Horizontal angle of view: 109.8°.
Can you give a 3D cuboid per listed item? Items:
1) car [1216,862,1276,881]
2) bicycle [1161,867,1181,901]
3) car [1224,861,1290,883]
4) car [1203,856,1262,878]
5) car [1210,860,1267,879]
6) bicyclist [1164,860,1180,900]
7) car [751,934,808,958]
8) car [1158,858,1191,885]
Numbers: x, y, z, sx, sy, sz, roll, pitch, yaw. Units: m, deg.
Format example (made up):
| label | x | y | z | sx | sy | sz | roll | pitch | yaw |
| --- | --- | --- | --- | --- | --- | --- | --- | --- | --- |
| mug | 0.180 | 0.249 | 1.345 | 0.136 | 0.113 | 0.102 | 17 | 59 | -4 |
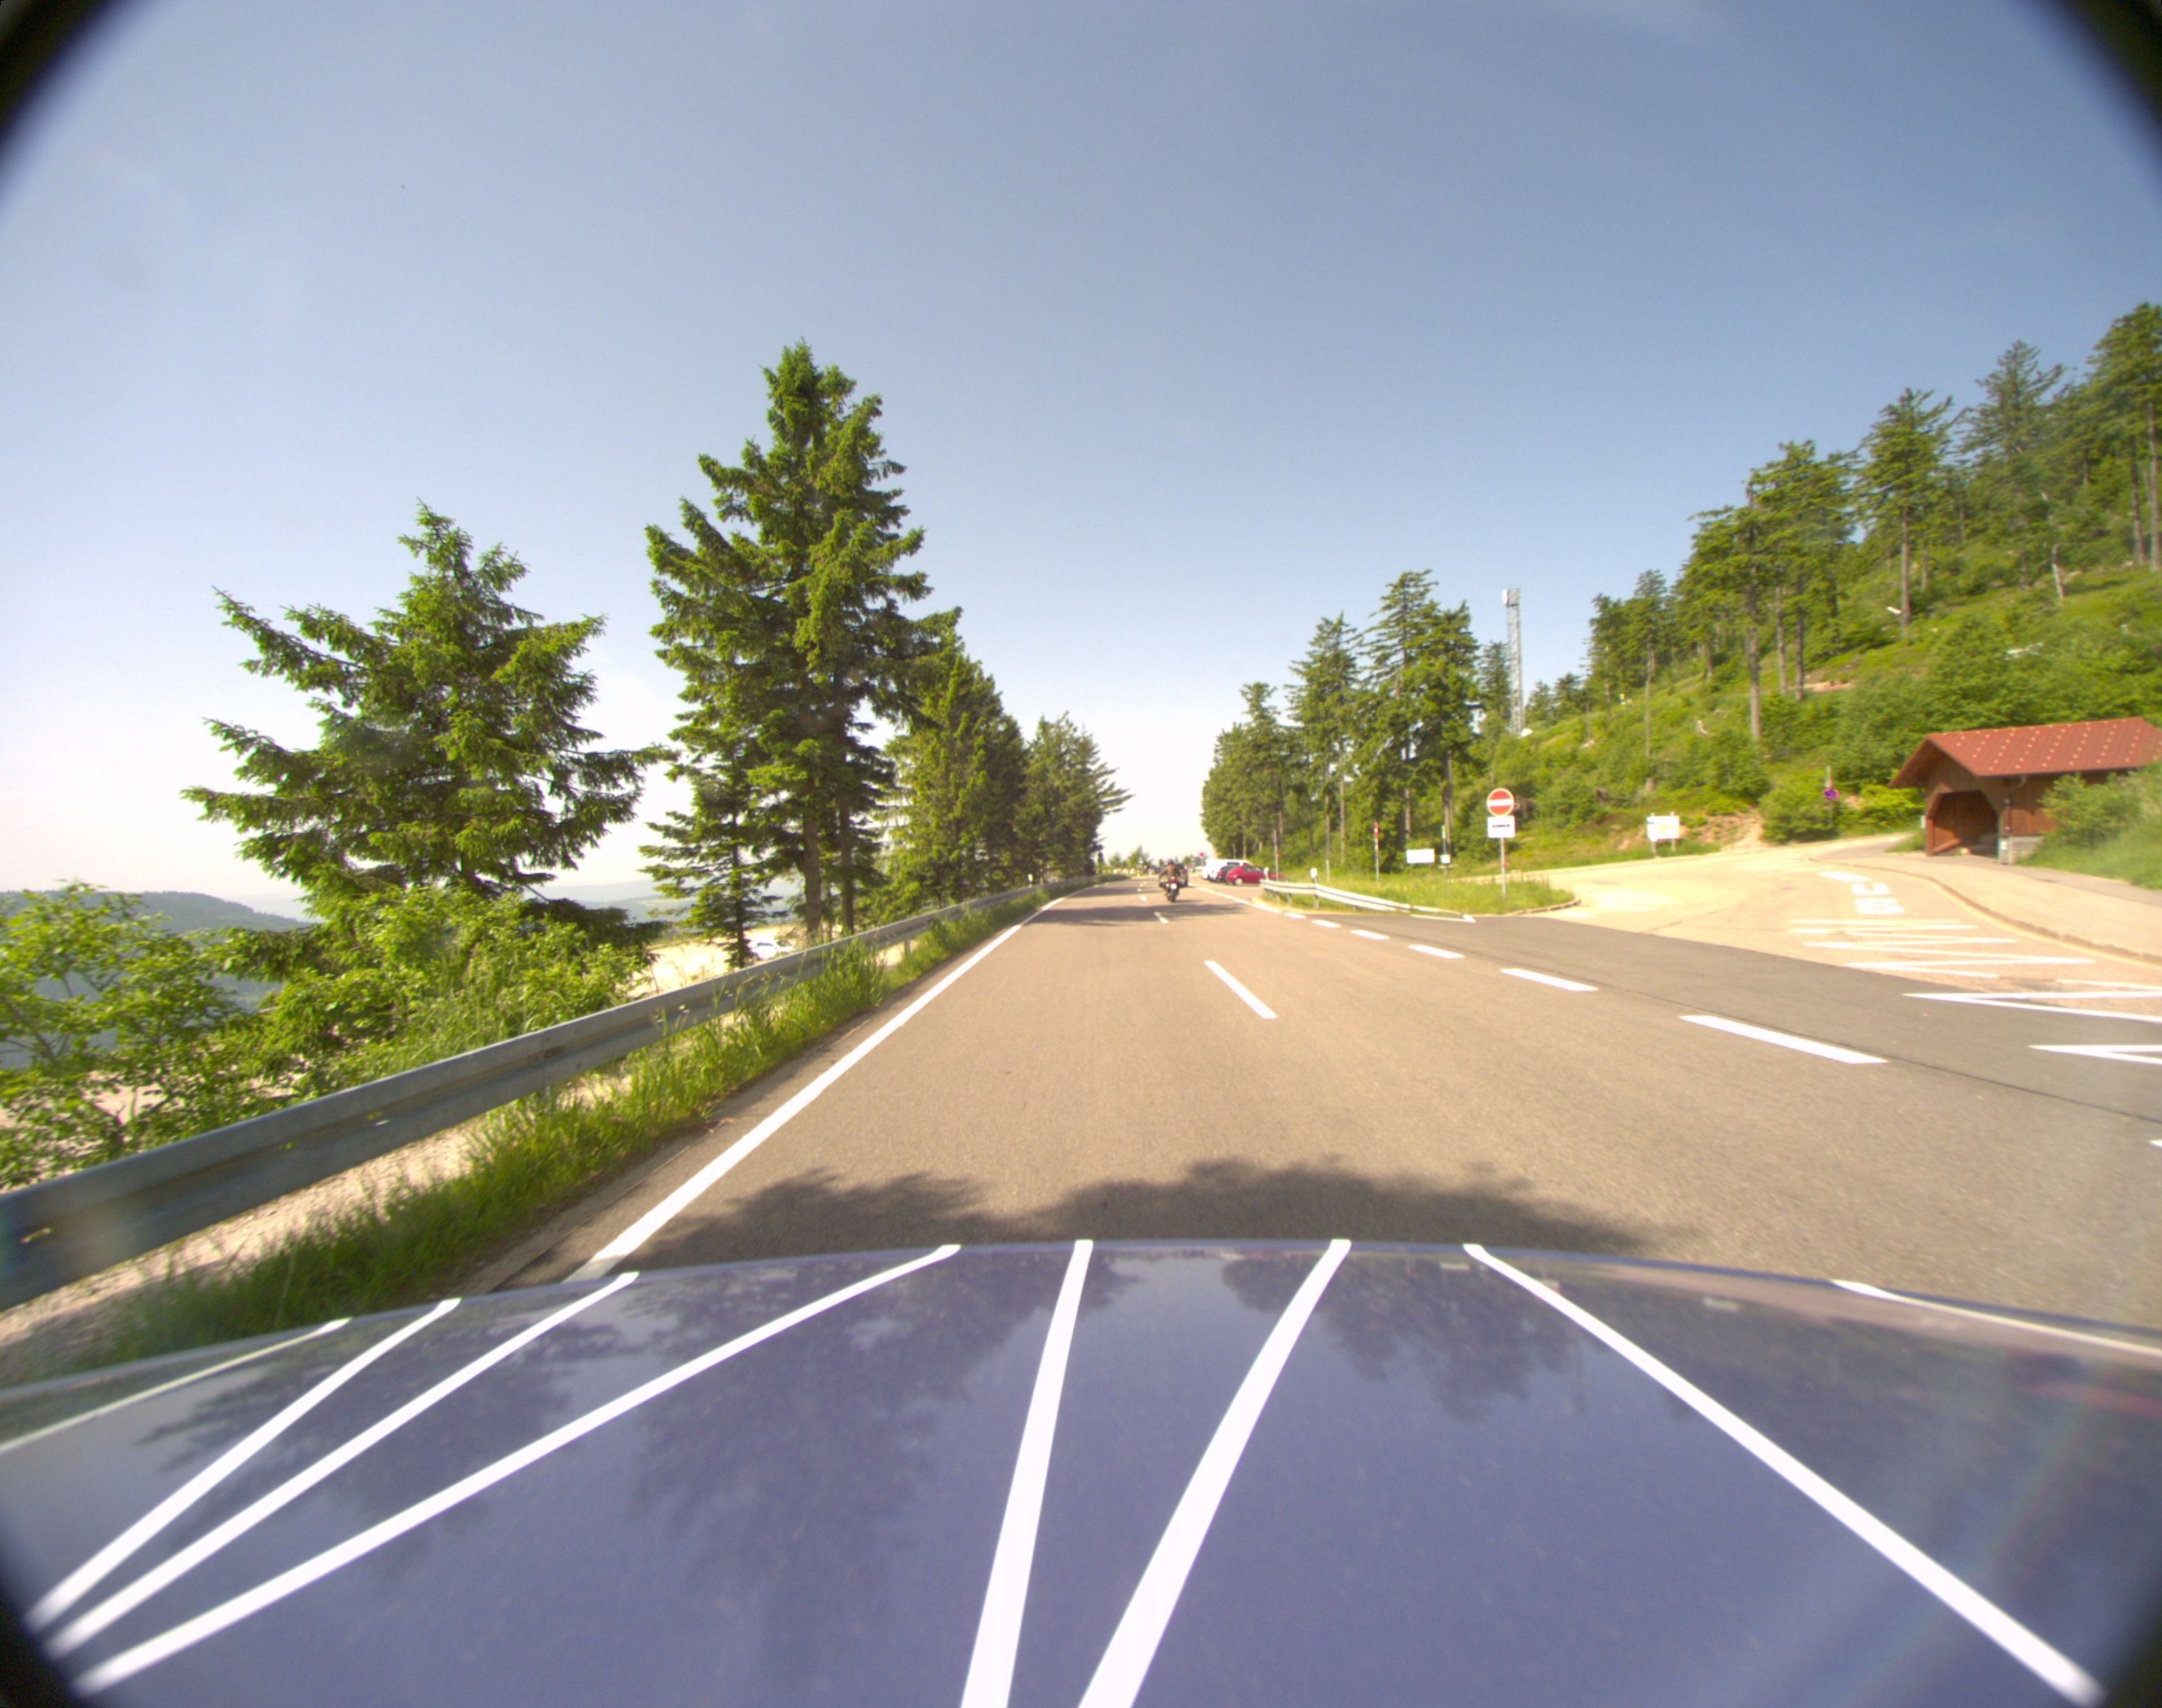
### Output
| label | x | y | z | sx | sy | sz | roll | pitch | yaw |
| --- | --- | --- | --- | --- | --- | --- | --- | --- | --- |
| car | 11.909 | 1.268 | 55.121 | 3.928 | 1.365 | 1.932 | 0 | 0 | 0 |
| bicycle | 3.476 | 1.154 | 29.399 | 0.546 | 1.220 | 1.858 | -1 | 0 | 1 |
| car | 12.110 | 1.222 | 52.465 | 4.158 | 1.501 | 1.933 | 0 | 0 | 5 |
| car | 13.207 | 1.086 | 66.421 | 4.729 | 1.871 | 1.932 | 0 | 0 | 0 |
| car | 12.949 | 1.293 | 62.667 | 4.242 | 1.516 | 1.932 | 0 | 0 | 0 |
| bicyclist | 3.538 | 0.998 | 29.516 | 0.546 | 1.519 | 0.679 | -1 | 1 | 1 |
| car | -23.831 | 7.299 | 60.115 | 3.771 | 1.587 | 1.845 | -2 | 3 | 16 |
| car | 6.044 | 1.113 | 49.374 | 1.998 | 1.586 | 4.001 | -1 | 0 | 5 |
